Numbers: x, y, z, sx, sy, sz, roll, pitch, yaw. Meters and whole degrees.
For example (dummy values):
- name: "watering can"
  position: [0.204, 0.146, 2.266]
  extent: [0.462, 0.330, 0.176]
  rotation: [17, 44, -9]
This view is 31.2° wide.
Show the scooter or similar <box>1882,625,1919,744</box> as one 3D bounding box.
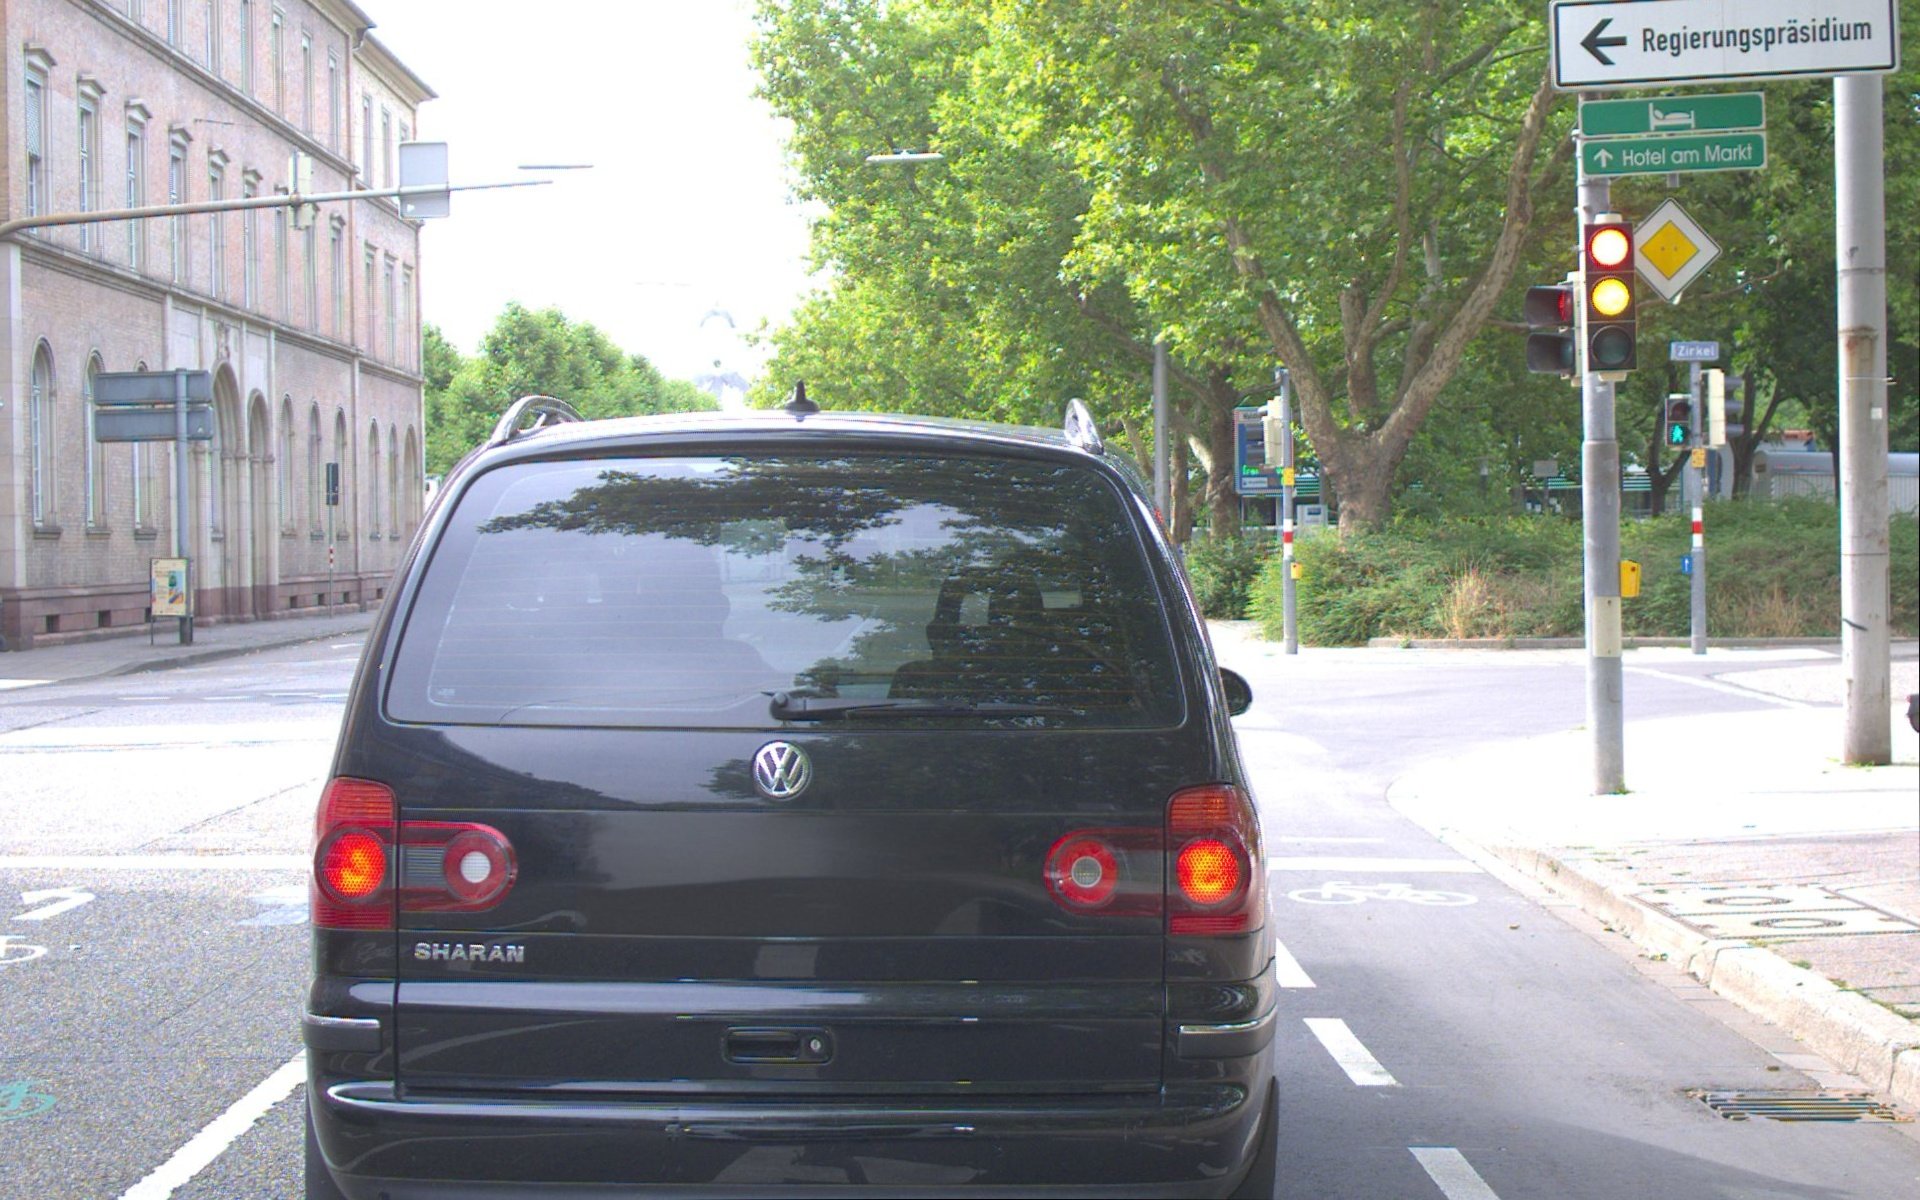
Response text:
- name: "scooter or similar"
  position: [6.486, 0.522, 21.715]
  extent: [1.219, 0.734, 0.369]
  rotation: [-1, 1, -1]

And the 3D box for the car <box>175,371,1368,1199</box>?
- name: "car"
  position: [-0.277, 0.464, 7.727]
  extent: [1.874, 1.739, 4.574]
  rotation: [-1, 1, 0]
